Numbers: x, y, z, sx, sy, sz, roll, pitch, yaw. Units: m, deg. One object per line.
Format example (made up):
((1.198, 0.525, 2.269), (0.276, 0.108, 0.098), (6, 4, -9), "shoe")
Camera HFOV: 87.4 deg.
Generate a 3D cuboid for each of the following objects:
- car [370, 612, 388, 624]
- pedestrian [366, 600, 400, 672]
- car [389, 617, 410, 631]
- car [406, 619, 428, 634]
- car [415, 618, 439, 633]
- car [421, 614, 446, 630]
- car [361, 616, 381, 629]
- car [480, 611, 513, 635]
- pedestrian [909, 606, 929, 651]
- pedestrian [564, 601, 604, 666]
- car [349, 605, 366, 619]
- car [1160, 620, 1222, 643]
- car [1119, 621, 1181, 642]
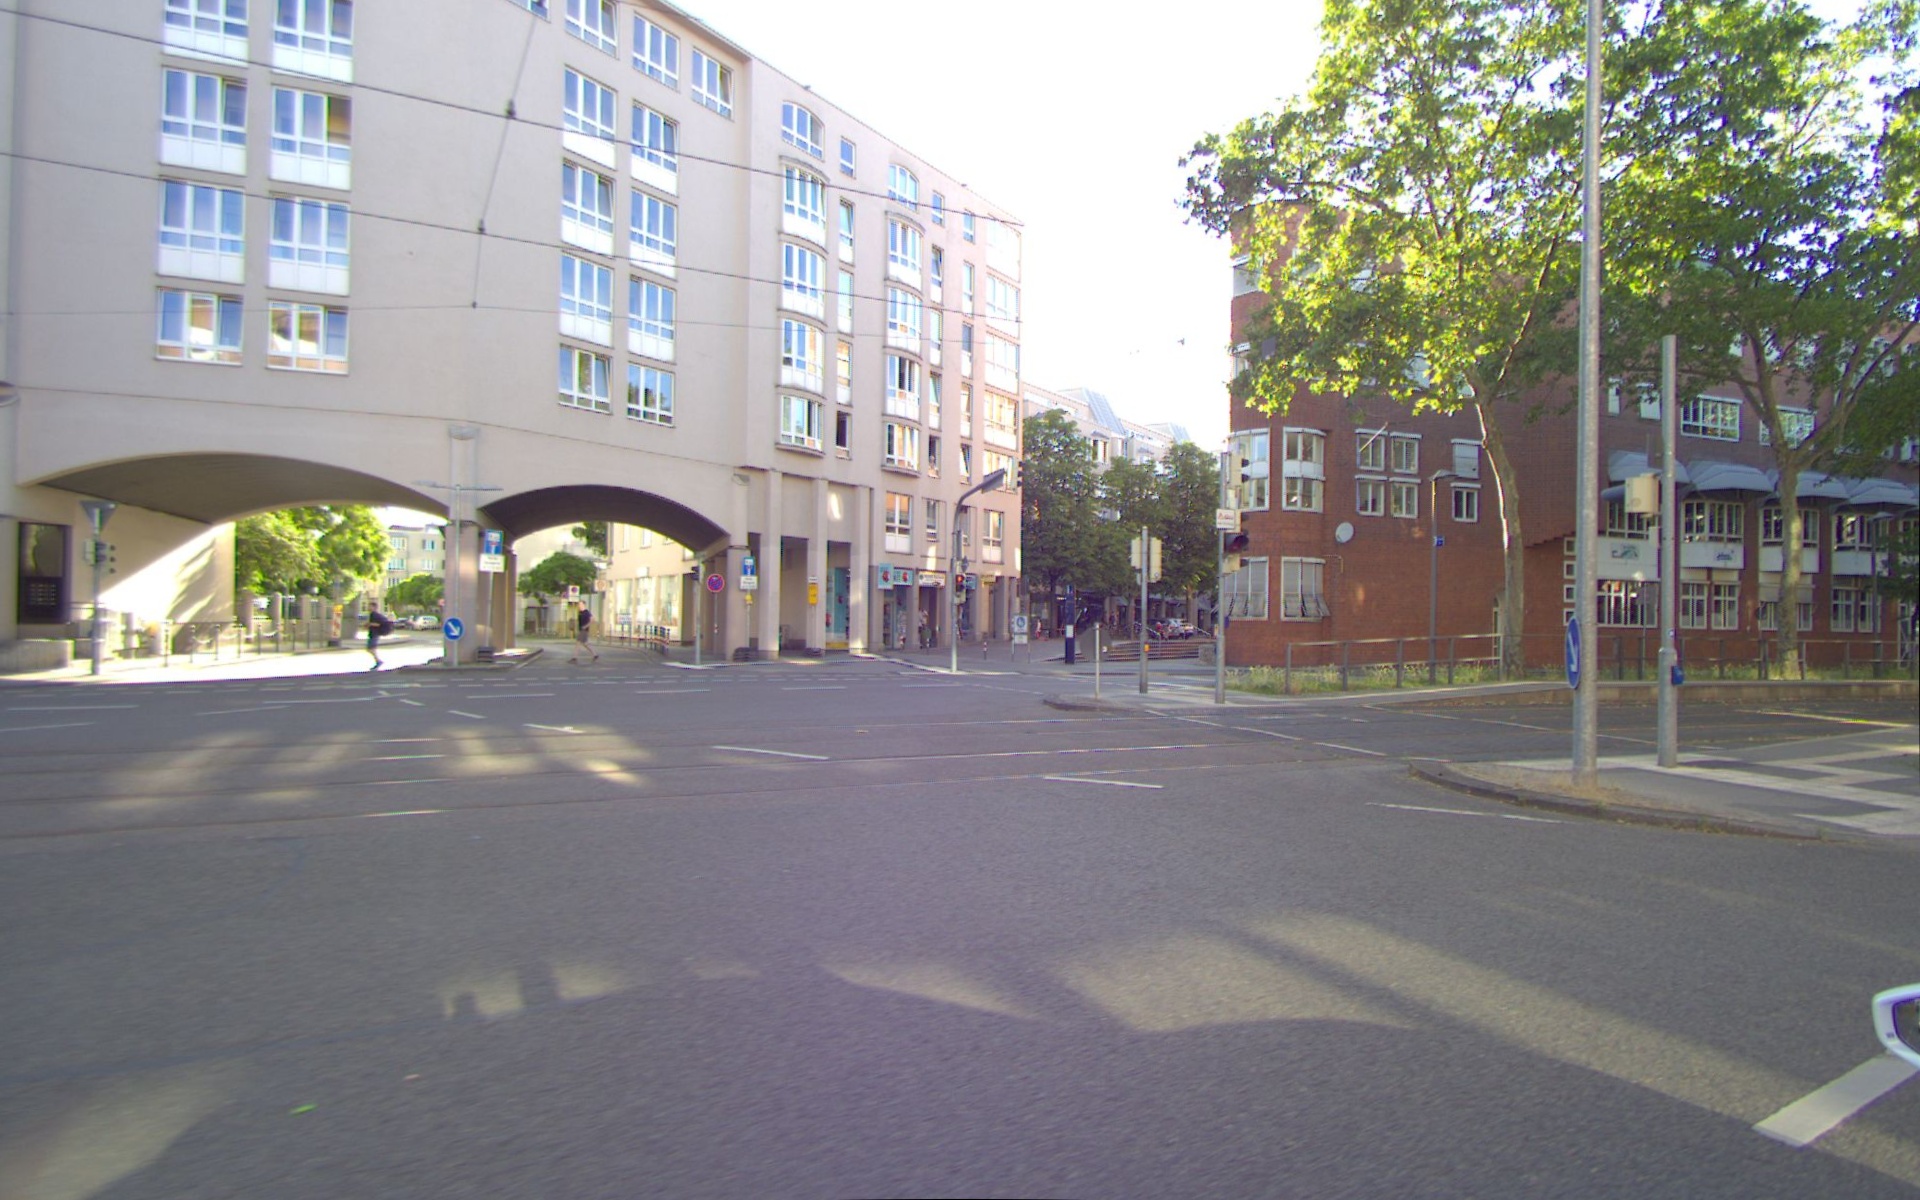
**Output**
((-70.686, 2.227, 122.181), (1.668, 1.413, 3.620), (2, -1, -34), "car")
((-15.462, 0.963, 26.929), (0.743, 1.894, 0.851), (1, -1, -30), "pedestrian")
((-60.136, 2.600, 107.714), (1.668, 1.413, 3.620), (2, -1, -34), "car")
((-55.405, 2.671, 102.453), (1.668, 1.413, 3.620), (2, -1, -34), "car")
((-51.878, 2.460, 97.761), (1.668, 1.413, 3.620), (2, -1, -34), "car")
((-48.949, 2.031, 93.394), (1.668, 1.413, 3.620), (2, -1, -34), "car")
((-65.277, 2.486, 111.236), (1.668, 1.413, 3.620), (2, -1, -34), "car")
((-34.956, 1.749, 75.702), (1.877, 1.752, 3.625), (2, -1, -30), "car")
((-1.846, 1.248, 44.703), (0.809, 1.968, 0.758), (1, -1, -6), "pedestrian")
((-11.970, 1.059, 31.989), (0.824, 2.040, 0.883), (0, -1, 39), "pedestrian")
((-85.884, 1.679, 143.110), (1.800, 1.864, 3.960), (2, -1, -35), "car")
((16.748, 2.253, 72.931), (3.939, 1.576, 1.991), (1, -1, -20), "car")
((13.356, 2.211, 70.688), (3.925, 1.419, 1.998), (1, -1, 26), "car")
